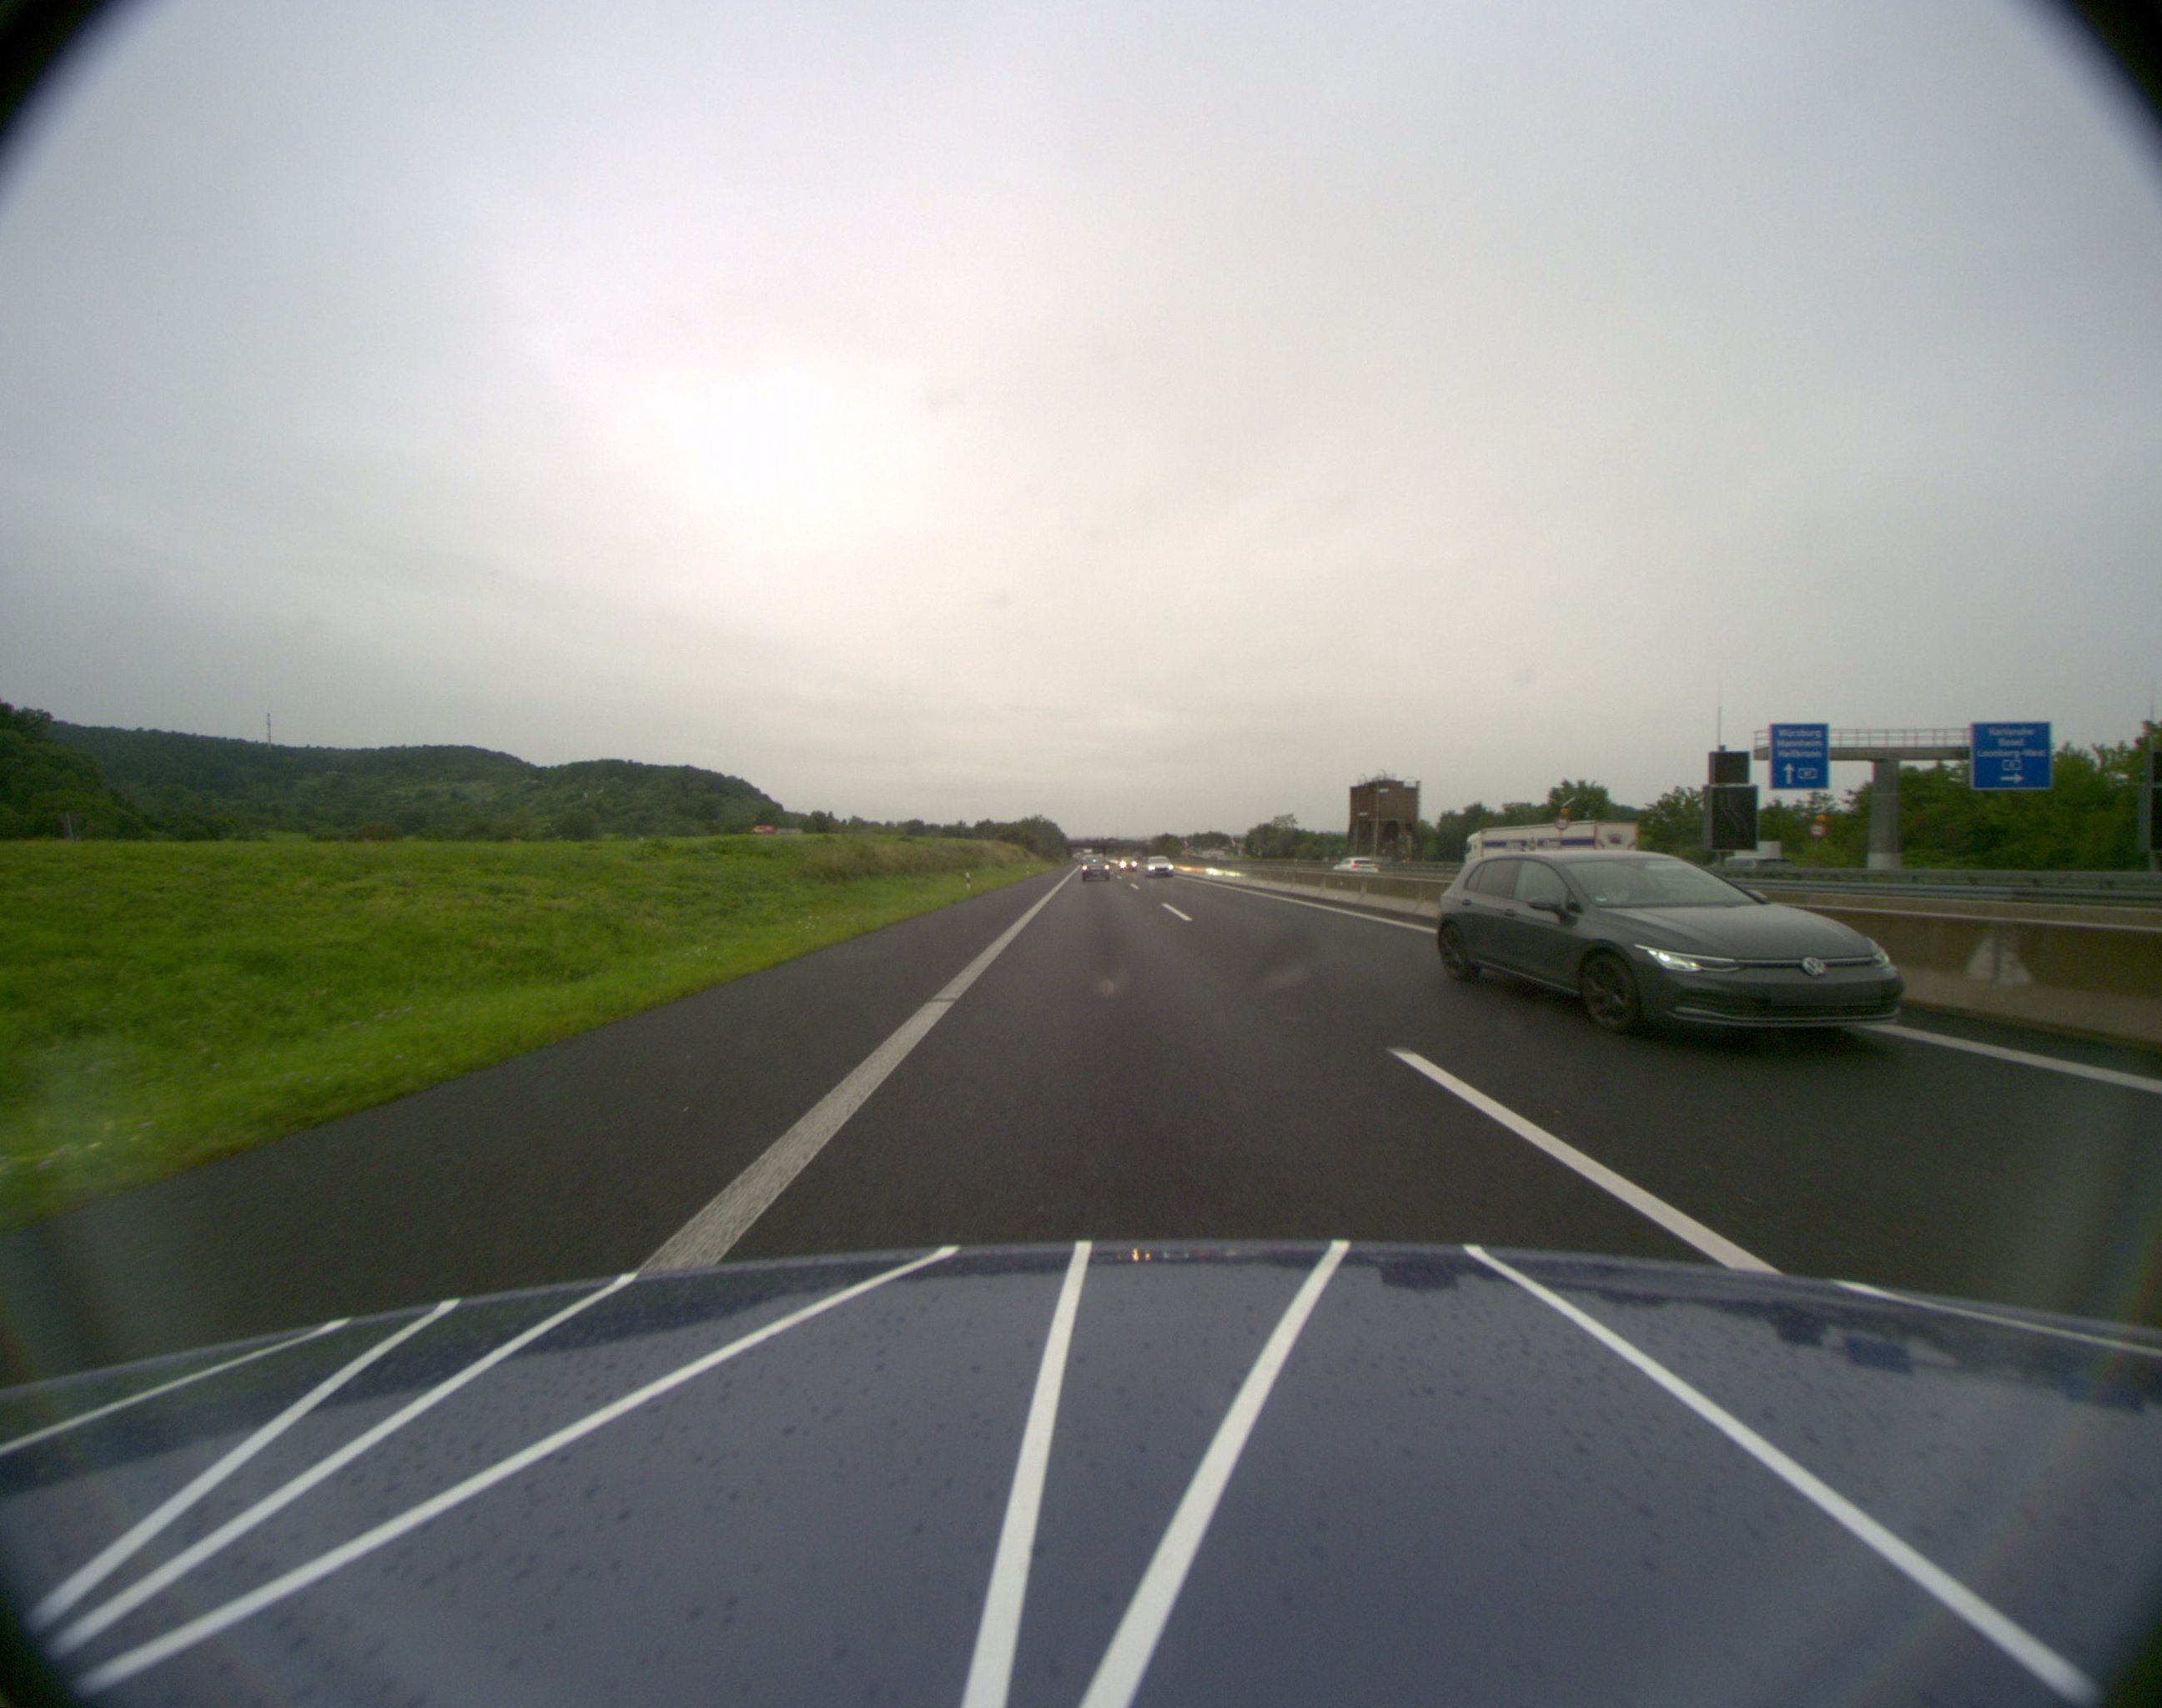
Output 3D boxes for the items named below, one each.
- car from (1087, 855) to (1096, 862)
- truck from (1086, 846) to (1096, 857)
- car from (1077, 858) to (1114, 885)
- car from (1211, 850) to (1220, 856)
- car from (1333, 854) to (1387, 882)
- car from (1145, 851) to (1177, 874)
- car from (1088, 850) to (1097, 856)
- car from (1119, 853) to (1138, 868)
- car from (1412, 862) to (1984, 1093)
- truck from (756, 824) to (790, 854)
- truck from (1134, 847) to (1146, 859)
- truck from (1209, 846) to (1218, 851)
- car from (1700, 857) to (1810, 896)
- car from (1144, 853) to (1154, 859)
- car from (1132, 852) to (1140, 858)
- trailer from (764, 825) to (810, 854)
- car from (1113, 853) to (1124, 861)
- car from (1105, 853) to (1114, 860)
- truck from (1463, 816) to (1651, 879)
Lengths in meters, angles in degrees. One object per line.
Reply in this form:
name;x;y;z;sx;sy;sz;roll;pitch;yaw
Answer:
car;2.385;1.055;168.867;1.942;1.341;4.000;-3;0;1
truck;3.106;-0.635;226.499;2.728;3.098;7.960;-3;0;1
car;0.993;1.090;49.514;2.242;1.565;4.817;-2;0;2
car;38.198;-0.215;215.932;1.998;1.751;4.505;-1;0;1
car;17.799;0.865;48.646;1.998;1.652;4.314;-1;0;3
car;5.744;0.583;55.012;1.998;1.582;4.817;-2;0;2
car;2.725;-0.282;174.172;1.942;1.341;4.000;-3;0;1
car;4.867;0.655;78.620;1.835;1.417;4.368;-3;0;2
car;4.959;0.828;7.126;1.835;1.417;4.368;-2;0;1
truck;-43.104;-2.093;106.459;2.515;3.963;5.926;-3;1;-3
truck;20.436;-0.358;263.802;2.976;3.688;11.913;-4;-1;1
truck;44.426;-1.819;254.334;1.999;1.635;5.405;-3;0;-1
car;29.679;0.951;33.626;1.575;1.475;4.049;-2;0;6
car;15.229;0.400;170.603;1.860;1.383;4.445;-1;0;2
car;15.146;0.316;210.270;1.802;1.499;4.000;0;0;0
trailer;-43.406;-2.106;112.742;2.497;3.961;12.401;-3;0;-3
car;7.216;0.634;147.847;1.941;1.341;4.001;-4;0;2
car;6.934;0.657;183.486;1.998;1.565;4.000;-2;0;1
truck;33.443;-0.441;55.092;3.185;3.786;17.134;1;0;1
